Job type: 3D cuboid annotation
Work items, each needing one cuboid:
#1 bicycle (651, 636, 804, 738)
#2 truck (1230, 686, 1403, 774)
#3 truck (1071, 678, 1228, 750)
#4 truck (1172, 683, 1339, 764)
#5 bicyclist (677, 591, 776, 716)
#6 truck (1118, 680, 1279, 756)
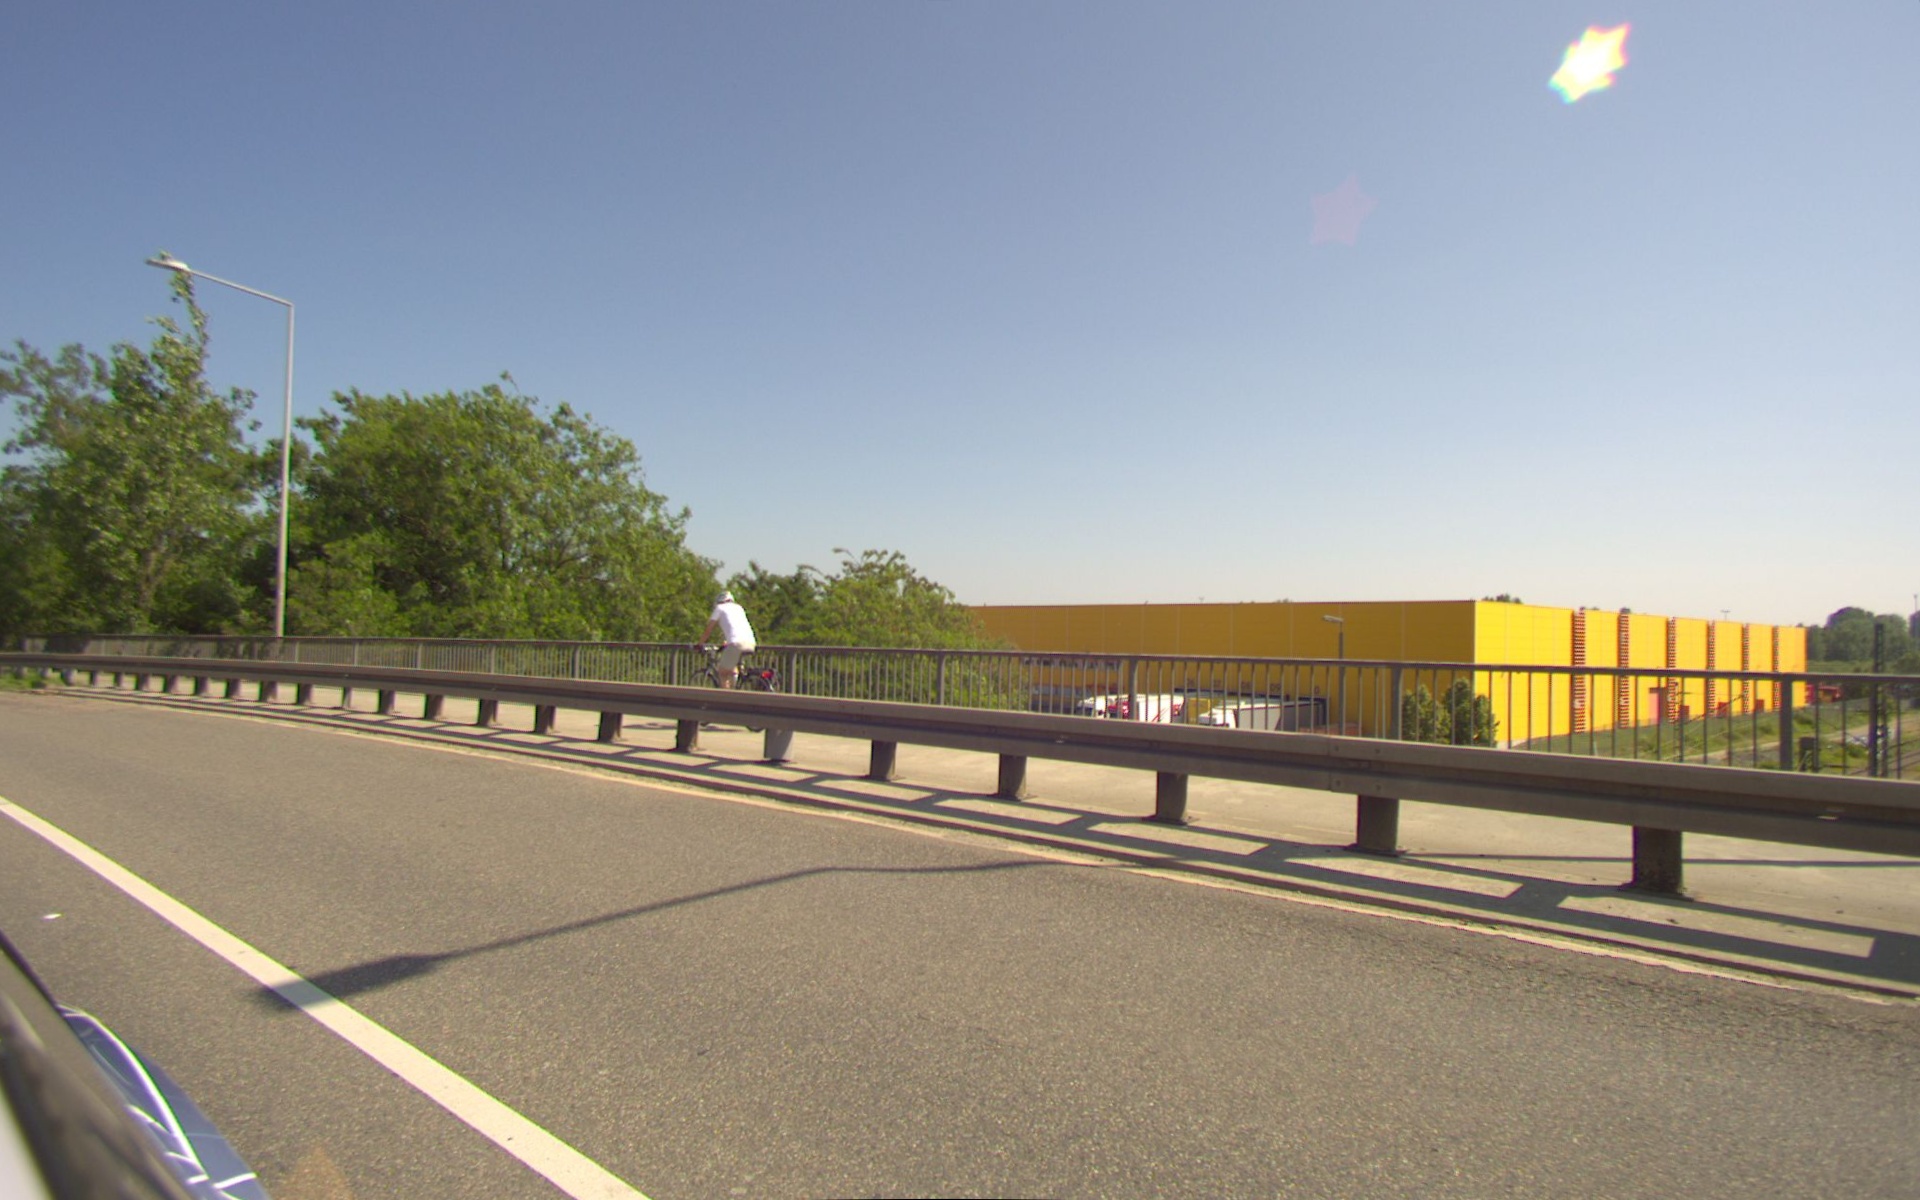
[{"bbox_3d":[-2.860,1.016,12.293,2.147,1.144,0.606,-2,-5,40],"label":"bicycle"},{"bbox_3d":[30.980,10.830,87.089,17.268,5.719,5.987,1,-1,-39],"label":"truck"},{"bbox_3d":[19.437,11.264,102.458,17.268,5.719,5.987,1,-1,-39],"label":"truck"},{"bbox_3d":[27.337,11.011,92.693,17.268,5.719,5.987,1,-1,-39],"label":"truck"},{"bbox_3d":[-2.848,0.636,12.310,1.077,1.450,0.602,0,-3,39],"label":"bicyclist"},{"bbox_3d":[23.251,11.097,97.574,17.268,5.719,5.800,1,-1,-39],"label":"truck"}]
